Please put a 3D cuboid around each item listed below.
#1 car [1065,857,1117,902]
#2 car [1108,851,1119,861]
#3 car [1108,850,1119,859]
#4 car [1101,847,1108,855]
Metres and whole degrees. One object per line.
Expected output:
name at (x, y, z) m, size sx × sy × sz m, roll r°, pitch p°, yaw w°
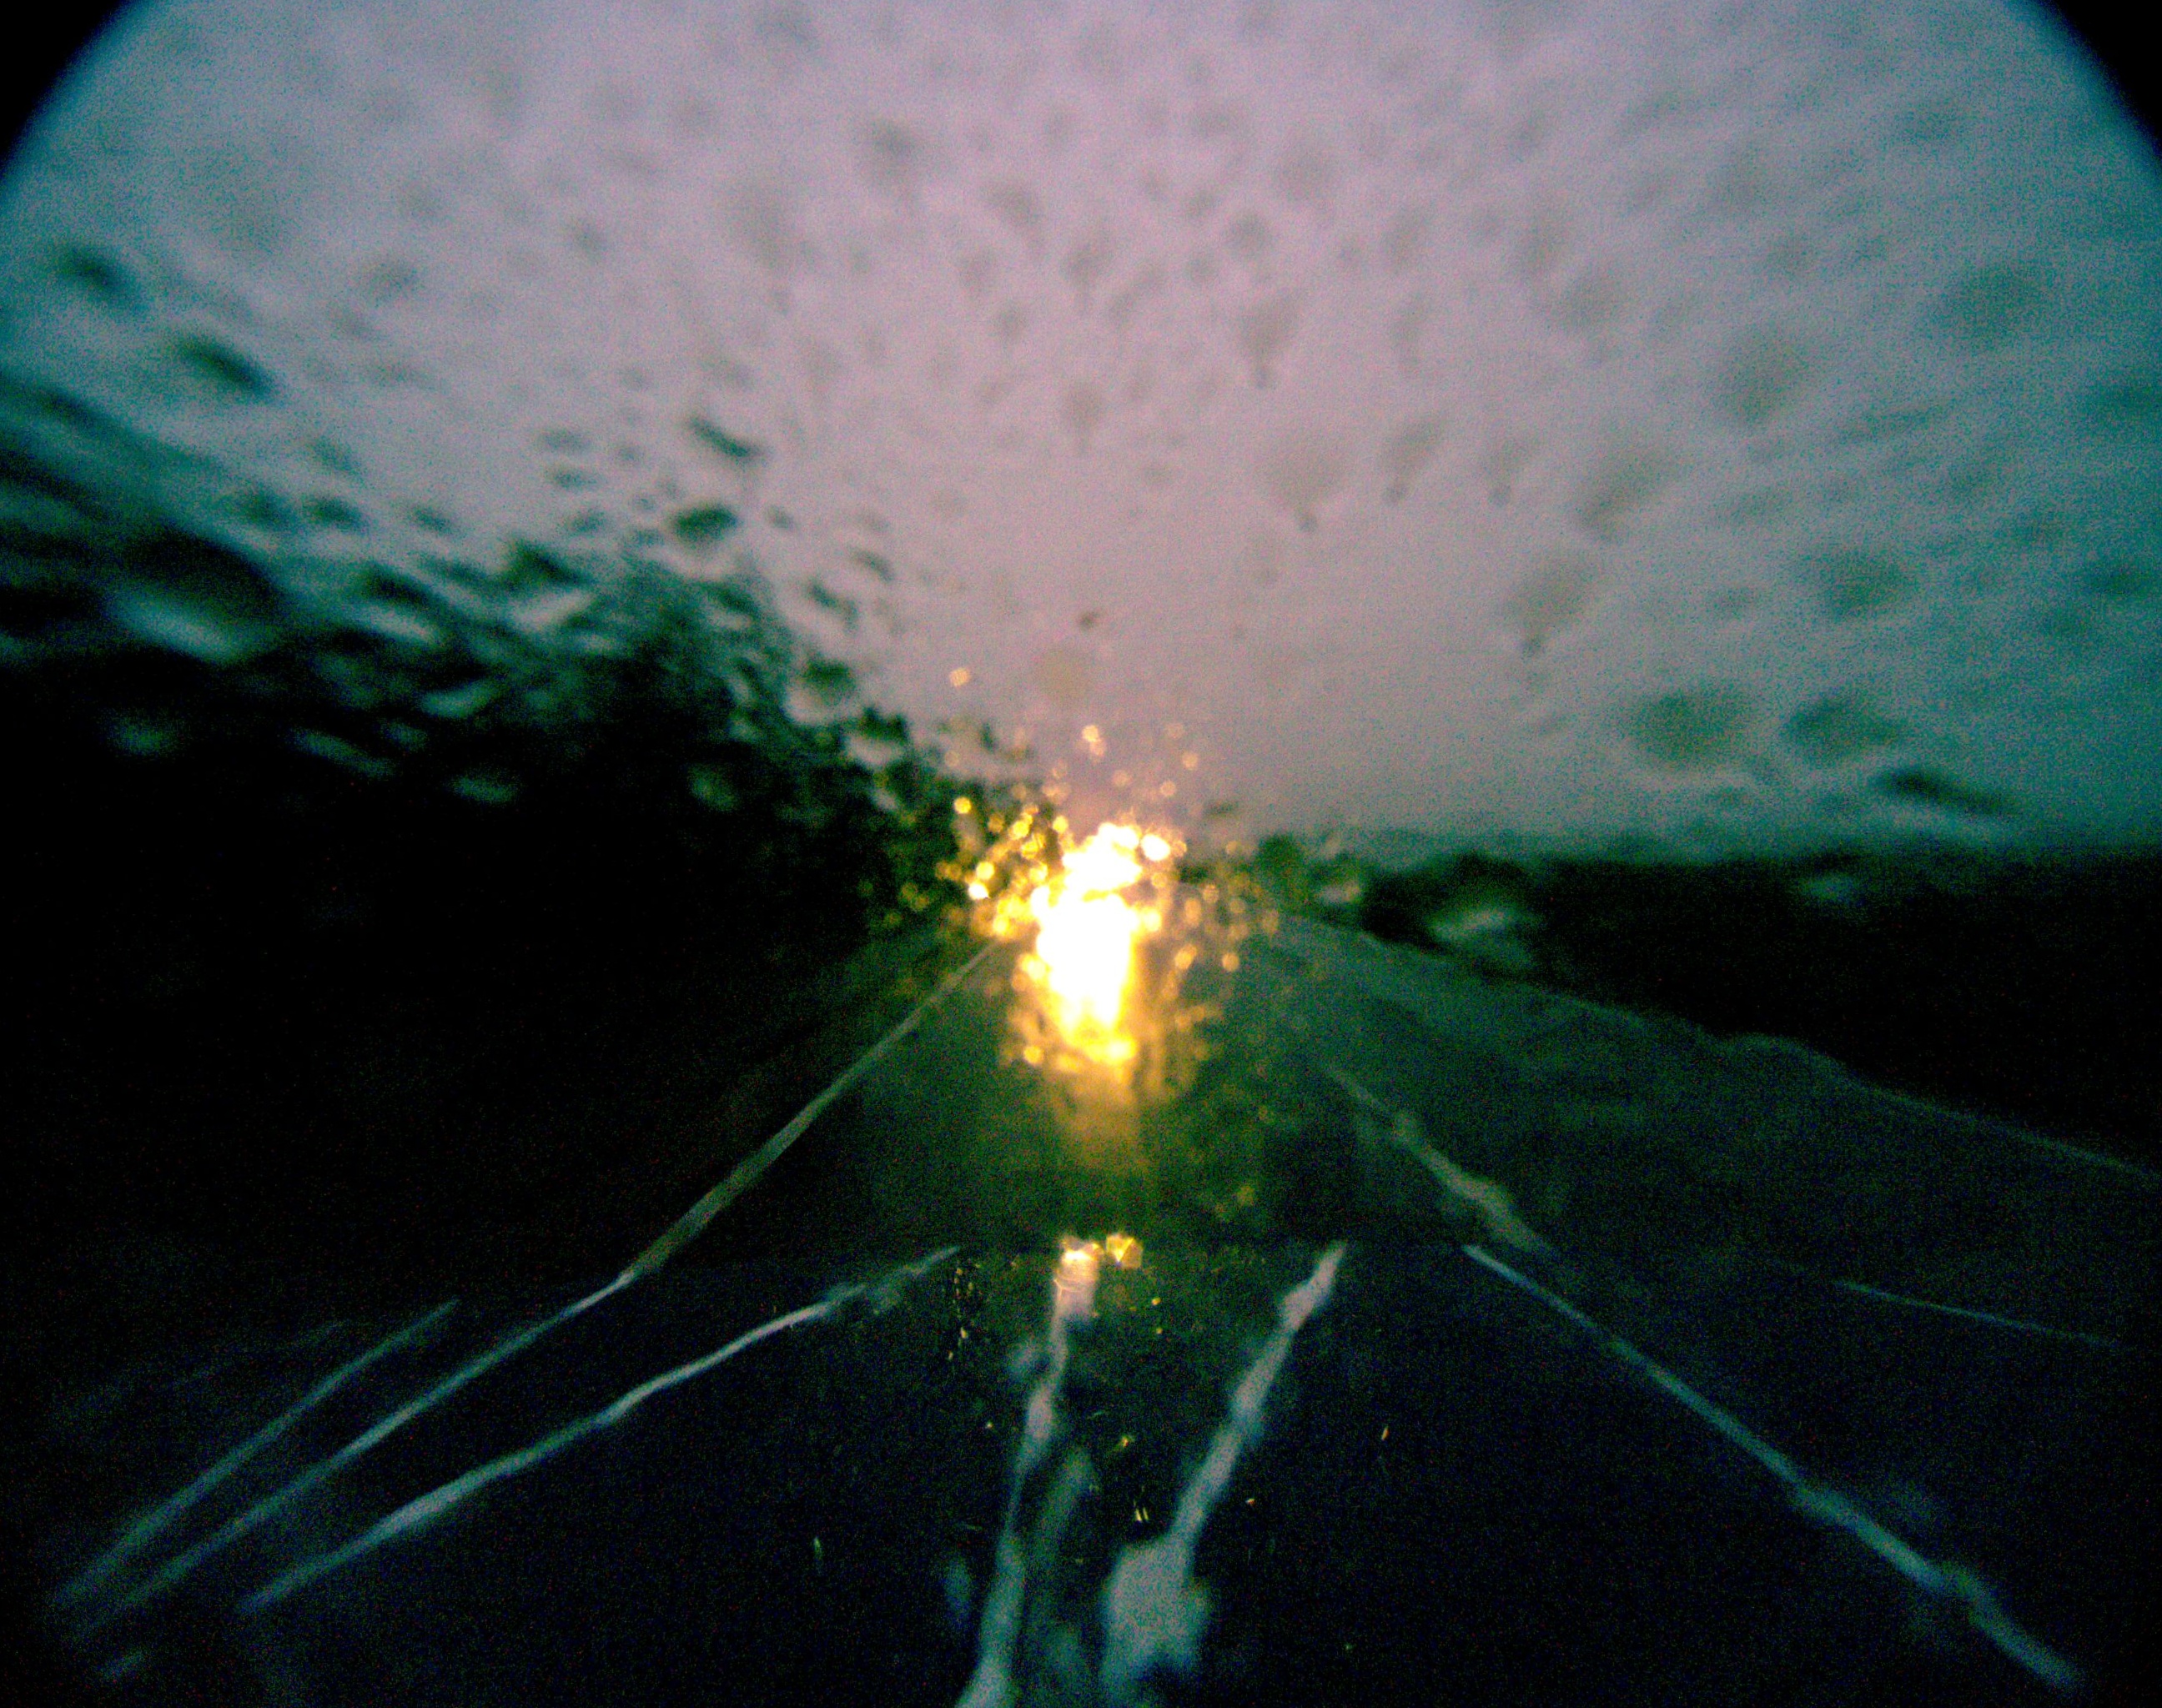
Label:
car at (0.361, 0.921, 29.264) m, size 1.844 × 1.484 × 3.955 m, roll -2°, pitch 1°, yaw 0°
car at (5.569, 0.305, 129.235) m, size 1.733 × 1.637 × 4.261 m, roll 2°, pitch 0°, yaw 1°
car at (6.518, 0.077, 150.937) m, size 1.998 × 1.860 × 4.952 m, roll 1°, pitch 0°, yaw 1°
car at (6.475, -0.761, 205.847) m, size 1.871 × 2.041 × 4.294 m, roll 0°, pitch 1°, yaw 1°
